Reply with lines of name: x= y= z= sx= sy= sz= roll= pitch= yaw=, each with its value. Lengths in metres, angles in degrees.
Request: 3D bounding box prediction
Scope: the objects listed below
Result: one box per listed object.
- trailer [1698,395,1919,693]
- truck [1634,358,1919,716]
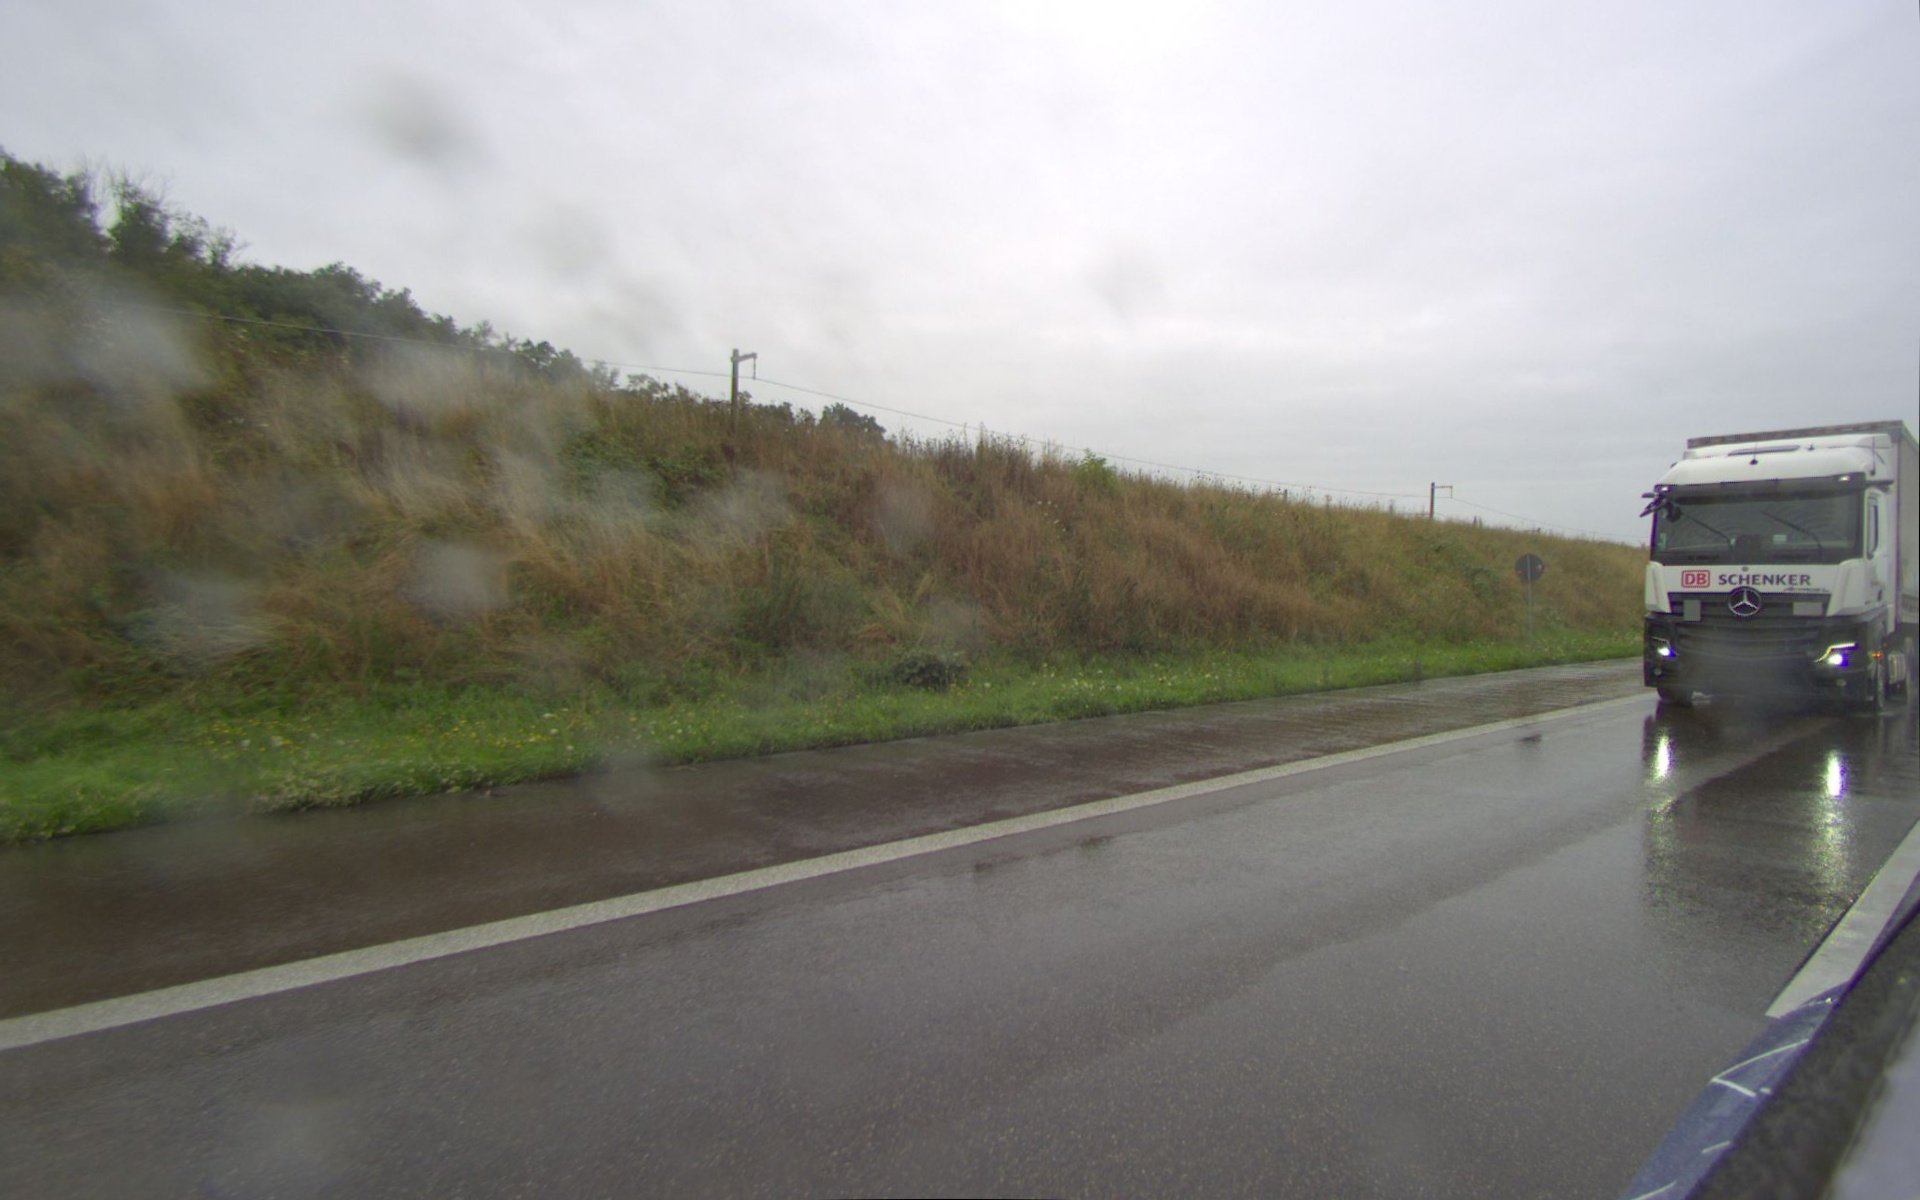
trailer: x=18.218 y=-0.882 z=20.246 sx=13.931 sy=4.302 sz=2.631 roll=-1 pitch=0 yaw=-41
truck: x=12.133 y=-0.788 z=14.813 sx=4.957 sy=4.307 sz=2.630 roll=0 pitch=0 yaw=-42
